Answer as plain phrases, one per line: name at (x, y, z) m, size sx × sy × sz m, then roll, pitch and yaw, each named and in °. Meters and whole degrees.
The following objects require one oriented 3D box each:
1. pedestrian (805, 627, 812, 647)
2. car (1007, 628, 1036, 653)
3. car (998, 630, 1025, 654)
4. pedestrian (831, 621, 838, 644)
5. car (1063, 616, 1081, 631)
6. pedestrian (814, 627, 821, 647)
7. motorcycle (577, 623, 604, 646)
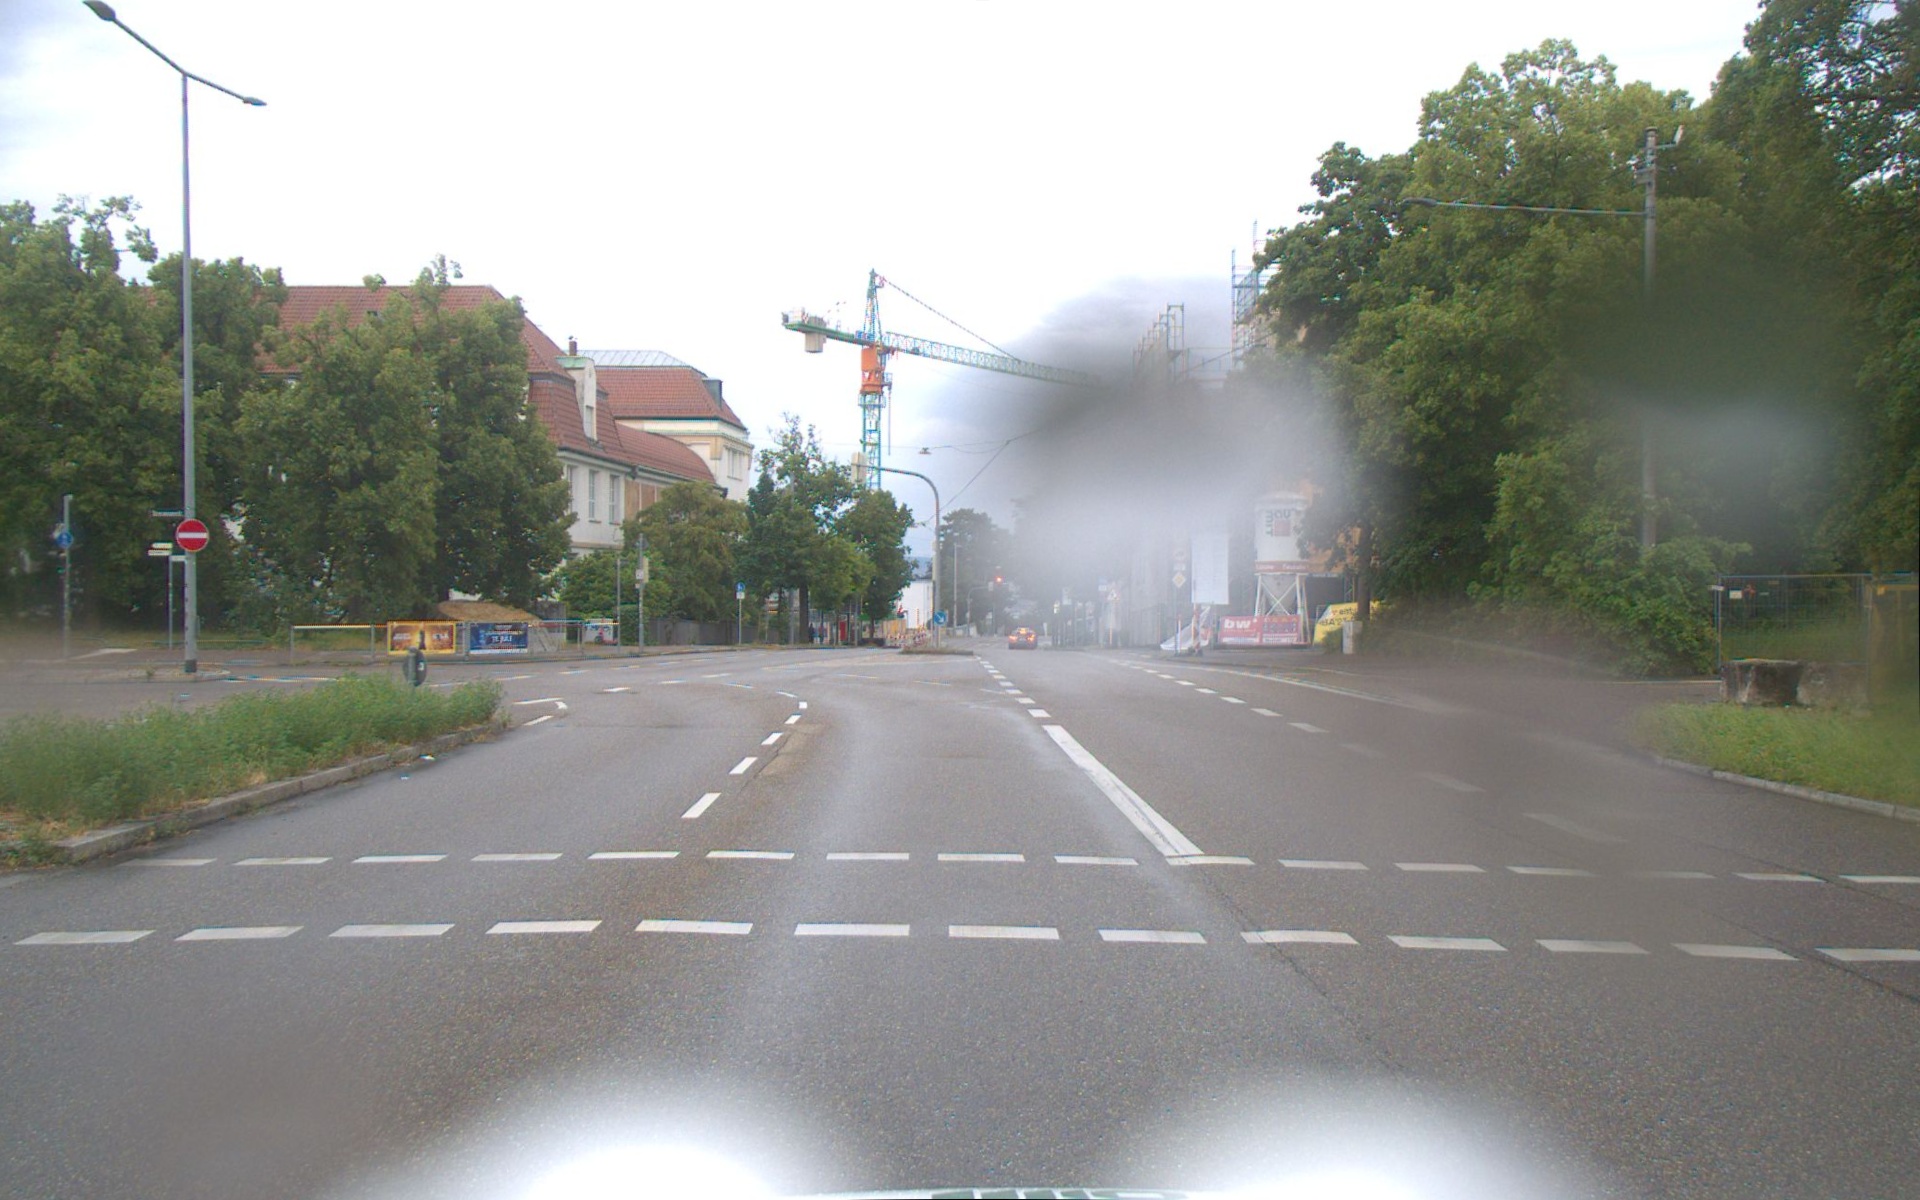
pedestrian at (-11.000, 2.682, 119.784) m, size 0.465 × 1.421 × 0.411 m, roll -1°, pitch 0°, yaw -1°
car at (4.593, 3.068, 124.815) m, size 1.953 × 1.780 × 3.999 m, roll -1°, pitch 0°, yaw -1°
car at (4.063, 3.316, 130.545) m, size 1.953 × 1.780 × 3.999 m, roll -1°, pitch 0°, yaw -1°
pedestrian at (-9.156, 2.401, 120.812) m, size 0.484 × 1.674 × 0.533 m, roll 1°, pitch -1°, yaw -7°
car at (14.926, 3.110, 219.517) m, size 1.951 × 1.780 × 4.003 m, roll -1°, pitch 0°, yaw 10°
pedestrian at (-10.317, 2.698, 119.866) m, size 0.465 × 1.421 × 0.411 m, roll 0°, pitch 0°, yaw -1°
motorcycle at (-14.335, 1.333, 64.222) m, size 0.832 × 0.893 × 0.877 m, roll 1°, pitch 0°, yaw -1°
